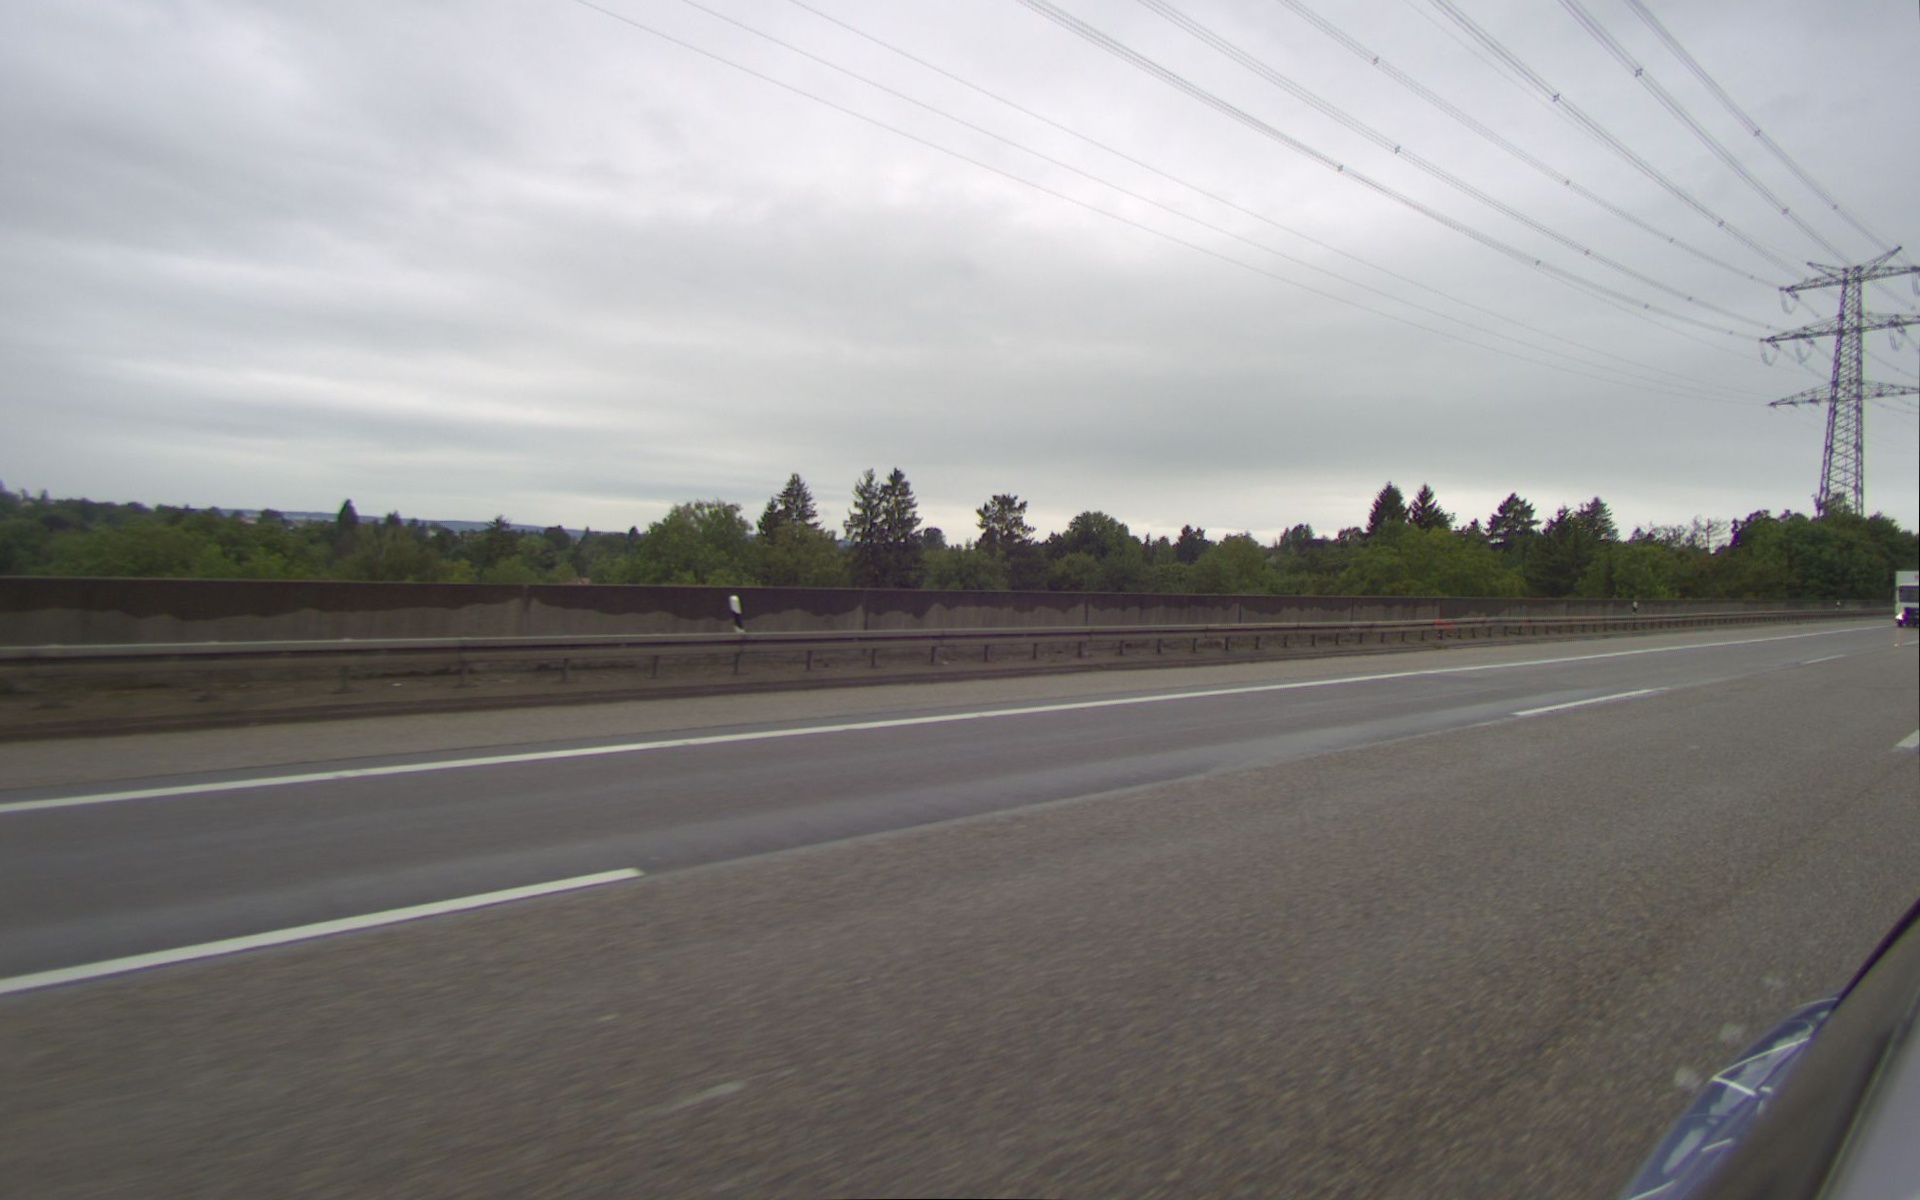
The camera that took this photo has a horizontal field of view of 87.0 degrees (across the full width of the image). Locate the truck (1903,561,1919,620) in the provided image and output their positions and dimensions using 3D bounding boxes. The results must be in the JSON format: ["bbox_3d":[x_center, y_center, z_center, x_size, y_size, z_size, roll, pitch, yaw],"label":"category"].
[{"bbox_3d":[57.661,-0.530,59.378,6.809,3.386,2.647,0,1,-41],"label":"truck"}]
